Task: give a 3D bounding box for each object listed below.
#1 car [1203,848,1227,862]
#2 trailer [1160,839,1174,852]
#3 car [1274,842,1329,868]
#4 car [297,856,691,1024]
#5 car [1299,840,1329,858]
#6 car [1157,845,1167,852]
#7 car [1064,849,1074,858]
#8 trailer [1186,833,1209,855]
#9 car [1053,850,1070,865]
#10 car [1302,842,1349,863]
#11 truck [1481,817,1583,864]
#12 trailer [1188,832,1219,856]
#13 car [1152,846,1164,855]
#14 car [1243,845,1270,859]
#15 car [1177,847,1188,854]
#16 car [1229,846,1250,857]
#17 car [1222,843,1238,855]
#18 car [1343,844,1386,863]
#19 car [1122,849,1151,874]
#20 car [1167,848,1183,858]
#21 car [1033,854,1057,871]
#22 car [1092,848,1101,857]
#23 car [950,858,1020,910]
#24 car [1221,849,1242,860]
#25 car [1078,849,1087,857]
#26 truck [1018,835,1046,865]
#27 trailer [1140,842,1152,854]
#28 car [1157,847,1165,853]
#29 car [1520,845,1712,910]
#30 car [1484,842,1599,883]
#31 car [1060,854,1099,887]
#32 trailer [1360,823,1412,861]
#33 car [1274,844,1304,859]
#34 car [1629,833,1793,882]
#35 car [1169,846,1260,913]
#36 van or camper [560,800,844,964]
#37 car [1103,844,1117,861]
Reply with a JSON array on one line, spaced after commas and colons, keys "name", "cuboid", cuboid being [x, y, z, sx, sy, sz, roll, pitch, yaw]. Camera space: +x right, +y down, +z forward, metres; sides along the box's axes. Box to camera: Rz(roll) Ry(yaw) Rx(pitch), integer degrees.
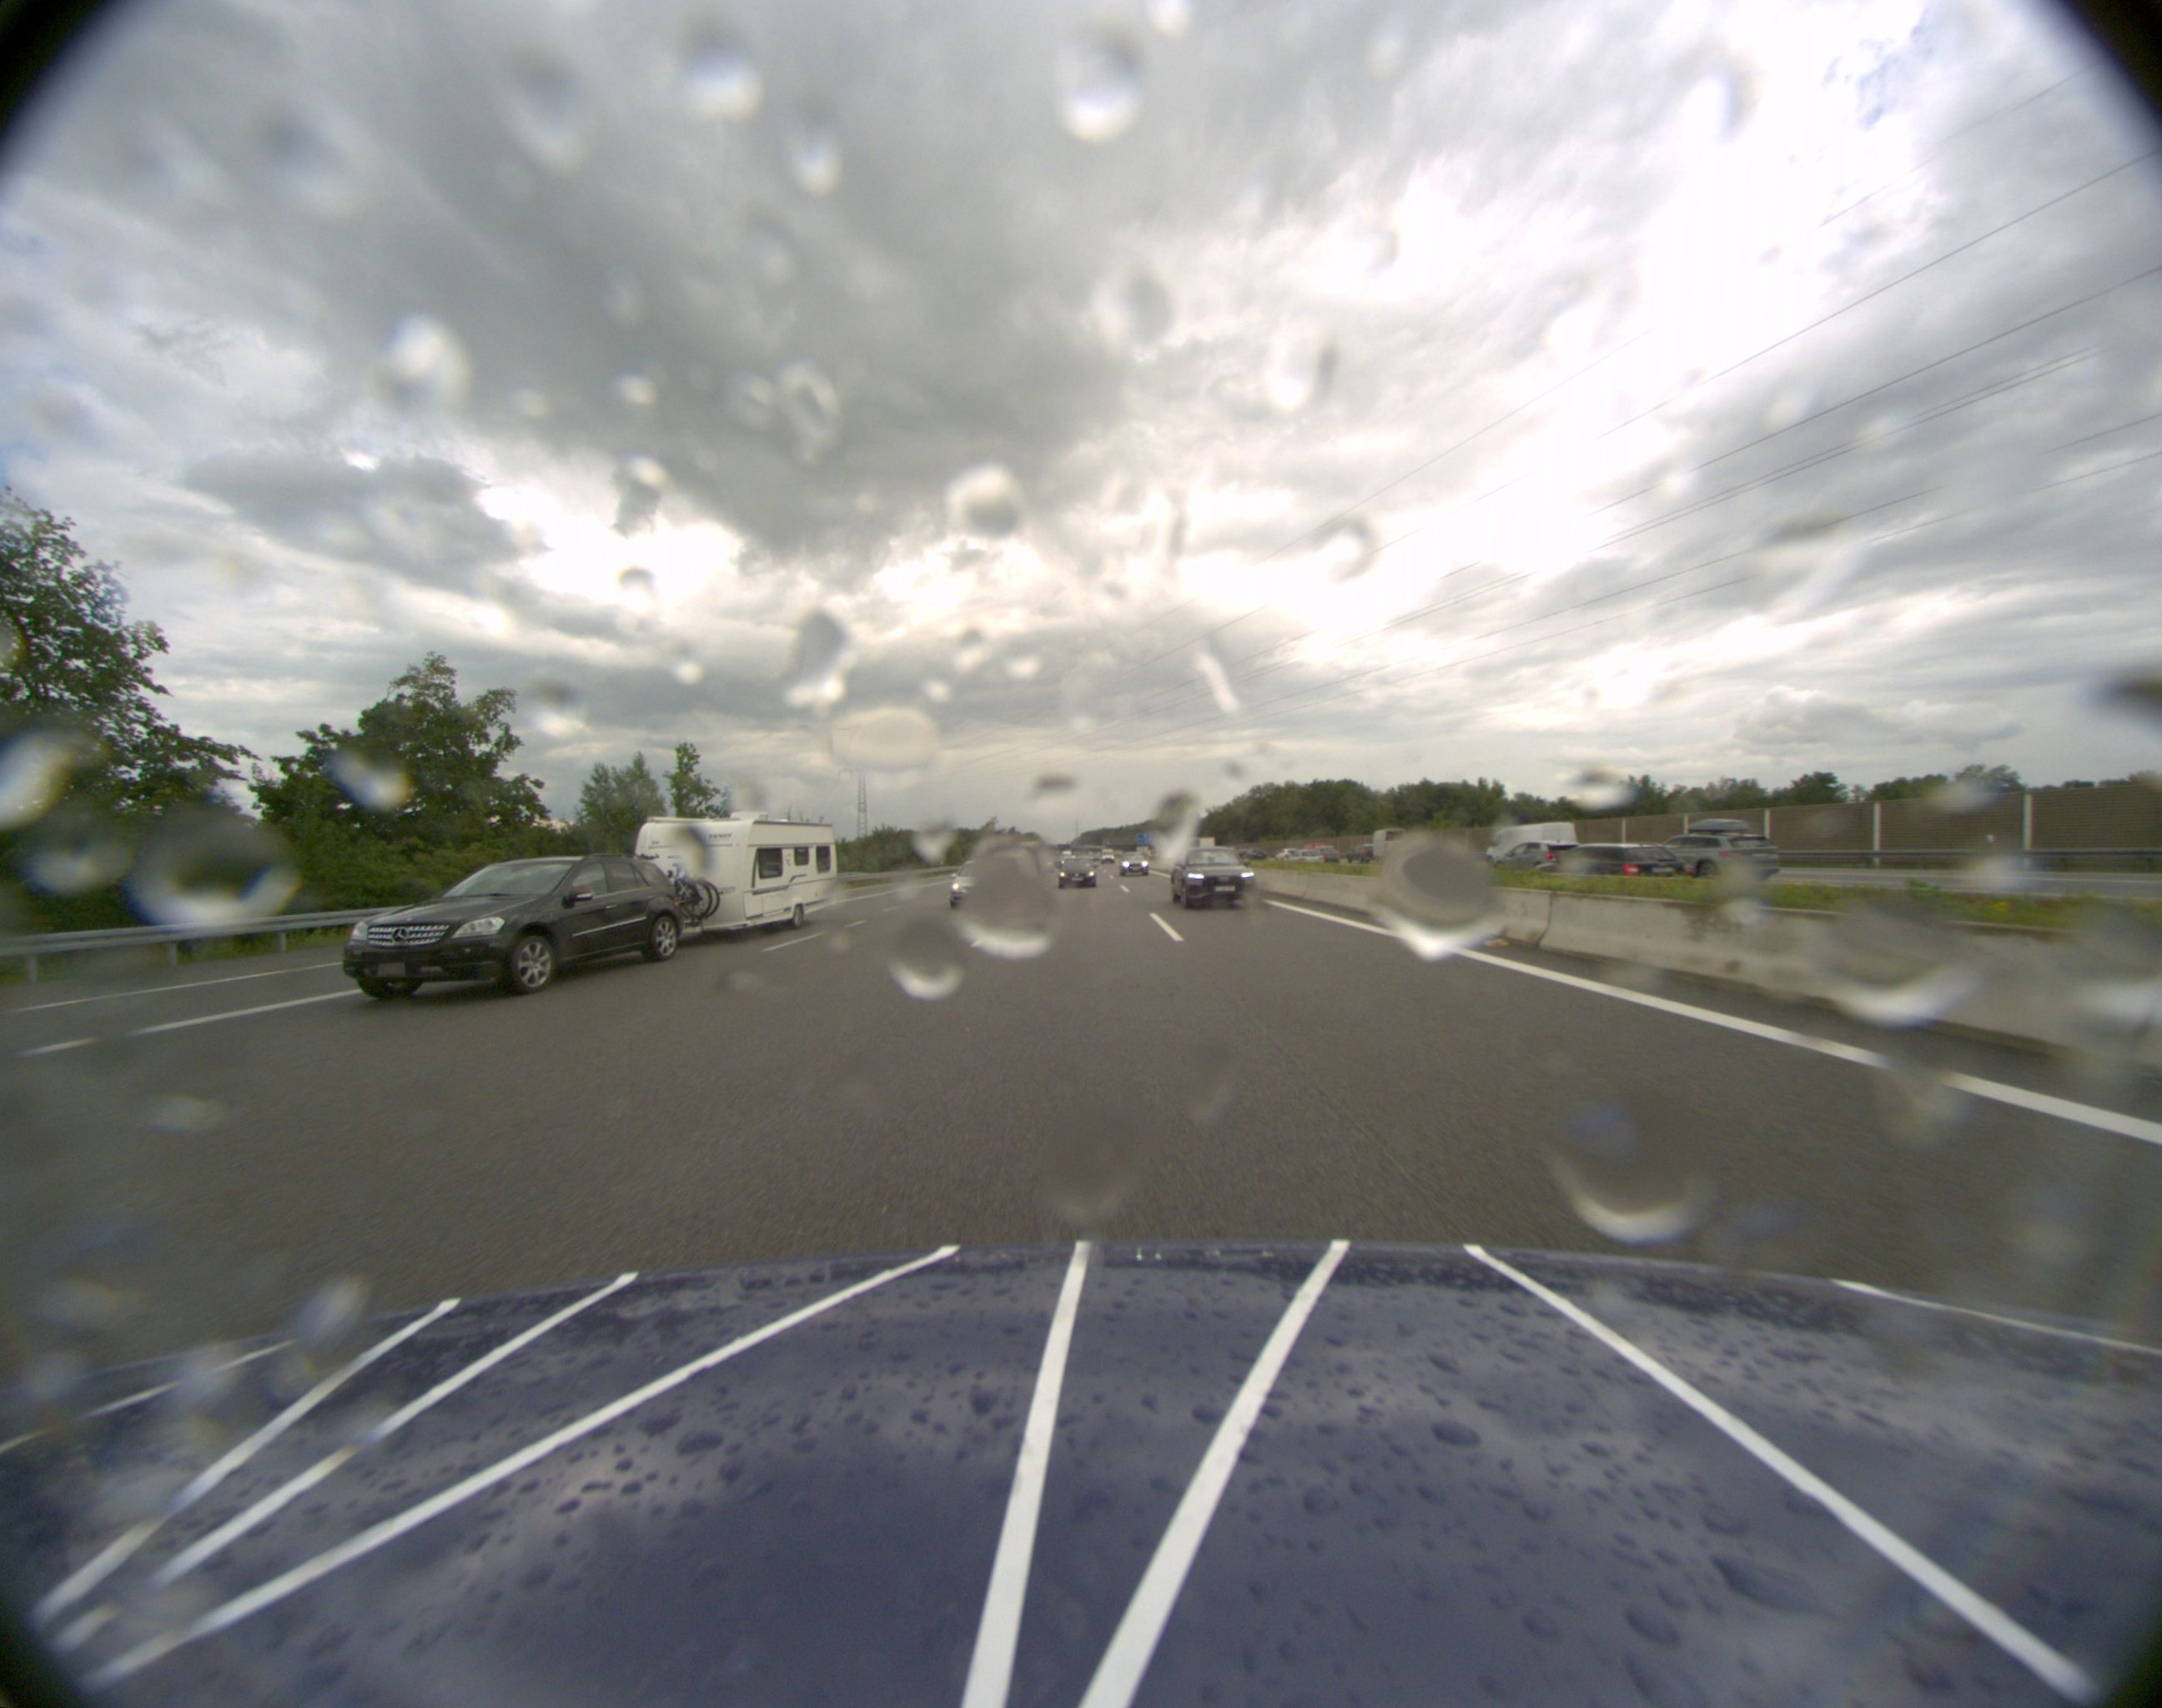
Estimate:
[{"name": "car", "cuboid": [15.131, 0.076, 85.922, 1.831, 1.446, 4.942, -2, 0, 0]}, {"name": "trailer", "cuboid": [26.874, -2.633, 237.853, 2.684, 3.941, 14.051, -2, 0, 1]}, {"name": "car", "cuboid": [13.909, 0.058, 48.121, 1.999, 1.517, 4.740, -2, 0, -1]}, {"name": "car", "cuboid": [-7.661, 0.966, 10.675, 1.925, 1.766, 4.502, -2, 0, 1]}, {"name": "car", "cuboid": [26.009, -0.573, 84.828, 1.770, 1.956, 4.942, -2, 0, 0]}, {"name": "car", "cuboid": [18.793, -1.165, 176.073, 1.770, 1.528, 5.160, -2, 0, 0]}, {"name": "car", "cuboid": [-2.777, -0.093, 173.640, 1.998, 2.002, 4.000, -2, 0, 0]}, {"name": "trailer", "cuboid": [22.299, -1.864, 146.113, 3.328, 4.020, 6.078, -2, 1, 0]}, {"name": "car", "cuboid": [-2.515, 0.441, 97.670, 1.999, 1.701, 3.999, -2, 0, 0]}, {"name": "car", "cuboid": [18.889, -0.116, 58.866, 1.970, 1.446, 4.942, -2, 0, 0]}, {"name": "truck", "cuboid": [25.876, -0.725, 43.958, 2.107, 2.437, 6.263, -2, 0, 0]}, {"name": "trailer", "cuboid": [22.312, -1.842, 139.044, 3.328, 4.038, 13.286, -2, 0, 0]}, {"name": "car", "cuboid": [16.151, -0.737, 160.404, 1.927, 1.888, 5.160, -2, 0, 0]}, {"name": "car", "cuboid": [18.534, -0.215, 80.502, 1.770, 1.446, 4.233, -2, 0, 0]}, {"name": "car", "cuboid": [22.878, -0.805, 171.492, 1.770, 1.528, 5.160, -2, 0, 0]}, {"name": "car", "cuboid": [22.252, -0.326, 106.935, 1.770, 1.446, 4.942, -2, 0, 0]}, {"name": "car", "cuboid": [26.929, -0.846, 137.315, 2.008, 2.002, 4.000, -2, 0, 1]}, {"name": "car", "cuboid": [25.569, -0.037, 68.716, 1.970, 1.586, 4.820, -2, 0, 0]}, {"name": "car", "cuboid": [3.883, 0.472, 53.721, 1.840, 1.615, 4.915, -2, 0, 3]}, {"name": "car", "cuboid": [14.867, -0.198, 120.354, 1.770, 1.446, 5.085, -2, 0, 0]}, {"name": "car", "cuboid": [-3.242, 0.712, 69.077, 1.841, 1.437, 4.000, -2, 0, 1]}, {"name": "car", "cuboid": [3.573, -0.418, 172.432, 1.998, 2.002, 4.000, -2, 0, 0]}, {"name": "car", "cuboid": [-3.009, 0.902, 24.561, 1.683, 1.437, 4.000, -2, 0, 1]}, {"name": "car", "cuboid": [19.513, 0.048, 98.763, 1.770, 1.446, 4.942, -2, 0, 0]}, {"name": "car", "cuboid": [0.393, -0.251, 186.034, 1.998, 2.002, 4.000, -2, 0, 0]}, {"name": "truck", "cuboid": [-6.438, -0.497, 100.791, 2.870, 3.633, 9.594, -2, 0, 1]}, {"name": "trailer", "cuboid": [22.327, -2.117, 262.394, 2.732, 3.863, 14.050, -2, 0, 0]}, {"name": "car", "cuboid": [22.394, -1.070, 212.518, 1.770, 1.528, 5.160, -2, 0, 0]}, {"name": "car", "cuboid": [13.839, 0.546, 20.057, 1.792, 1.446, 4.564, -2, 0, 0]}, {"name": "car", "cuboid": [18.162, 0.304, 30.260, 1.792, 1.446, 4.564, -2, 0, 0]}, {"name": "car", "cuboid": [-0.042, 0.780, 37.153, 1.717, 1.437, 4.000, -2, 0, 1]}, {"name": "trailer", "cuboid": [25.544, -0.974, 63.831, 2.253, 2.945, 4.900, -2, 1, 0]}, {"name": "car", "cuboid": [21.954, -0.273, 80.482, 1.770, 1.446, 4.942, -2, 0, 0]}, {"name": "car", "cuboid": [21.265, 0.087, 25.937, 1.792, 1.460, 4.564, -2, 0, 0]}, {"name": "car", "cuboid": [3.706, 0.631, 22.049, 1.913, 1.681, 5.169, -2, 0, 3]}, {"name": "van or camper", "cuboid": [-7.611, 0.457, 16.615, 2.390, 2.723, 7.208, -2, 0, 1]}, {"name": "car", "cuboid": [4.563, -0.239, 121.744, 1.998, 2.524, 4.808, -2, 0, 1]}]
